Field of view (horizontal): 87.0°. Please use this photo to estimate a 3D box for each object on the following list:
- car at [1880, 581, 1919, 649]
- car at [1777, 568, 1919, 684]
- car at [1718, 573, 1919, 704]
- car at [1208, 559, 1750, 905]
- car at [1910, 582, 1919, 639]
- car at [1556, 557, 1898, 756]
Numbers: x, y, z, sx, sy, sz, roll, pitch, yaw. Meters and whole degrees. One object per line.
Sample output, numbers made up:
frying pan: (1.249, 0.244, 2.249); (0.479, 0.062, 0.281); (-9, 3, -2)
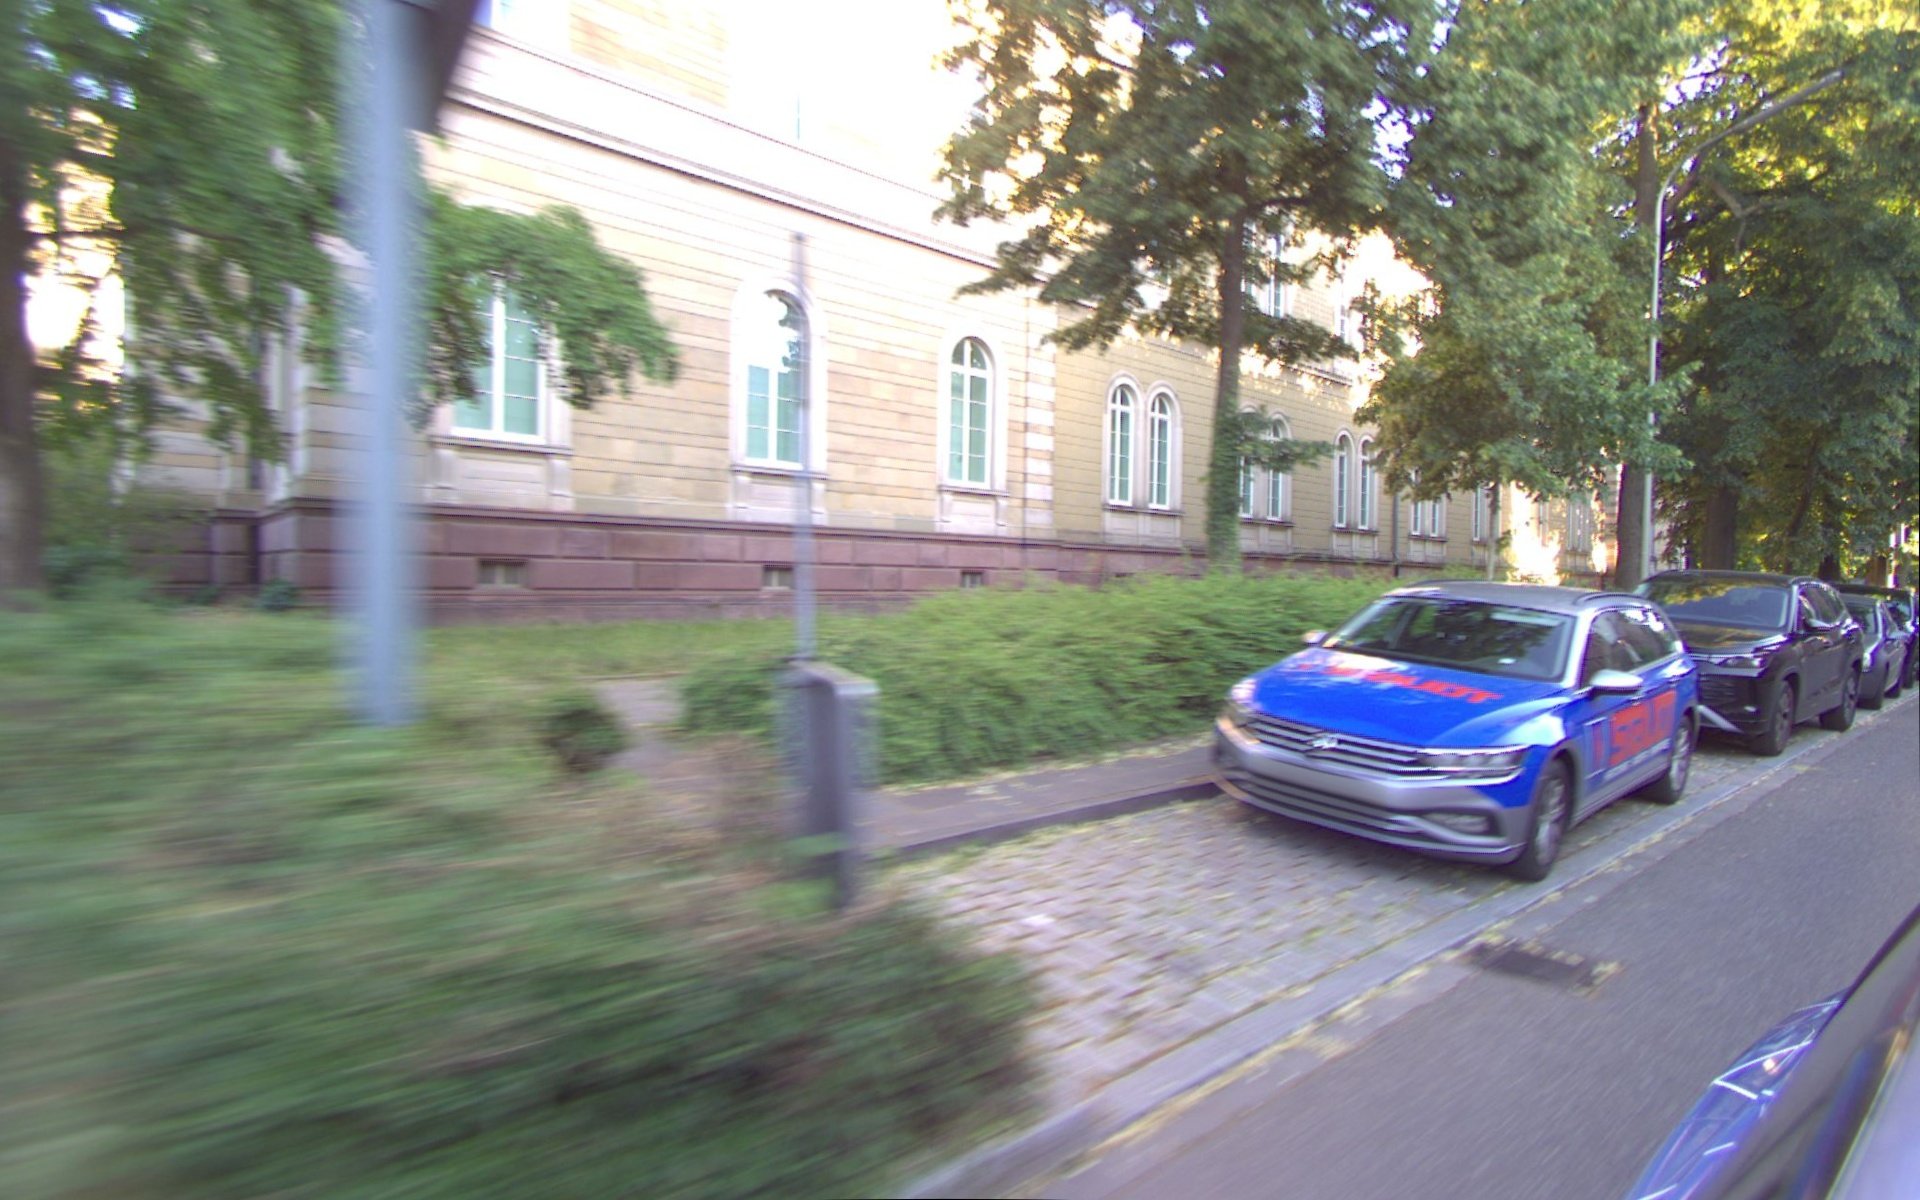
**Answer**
car: (24.344, 0.374, 25.063); (4.444, 1.524, 1.739); (-1, 6, -42)
car: (16.104, 0.394, 17.870); (4.342, 1.670, 1.811); (0, 6, -42)
car: (12.334, 0.446, 14.340); (4.117, 1.557, 1.727); (0, 2, -42)
car: (3.747, 0.568, 6.862); (4.533, 1.505, 1.727); (-1, 6, -43)
car: (28.681, 0.338, 28.806); (4.114, 1.551, 1.730); (-1, 6, -39)
car: (8.176, 0.407, 10.629); (4.627, 1.671, 1.729); (-1, 3, -38)
